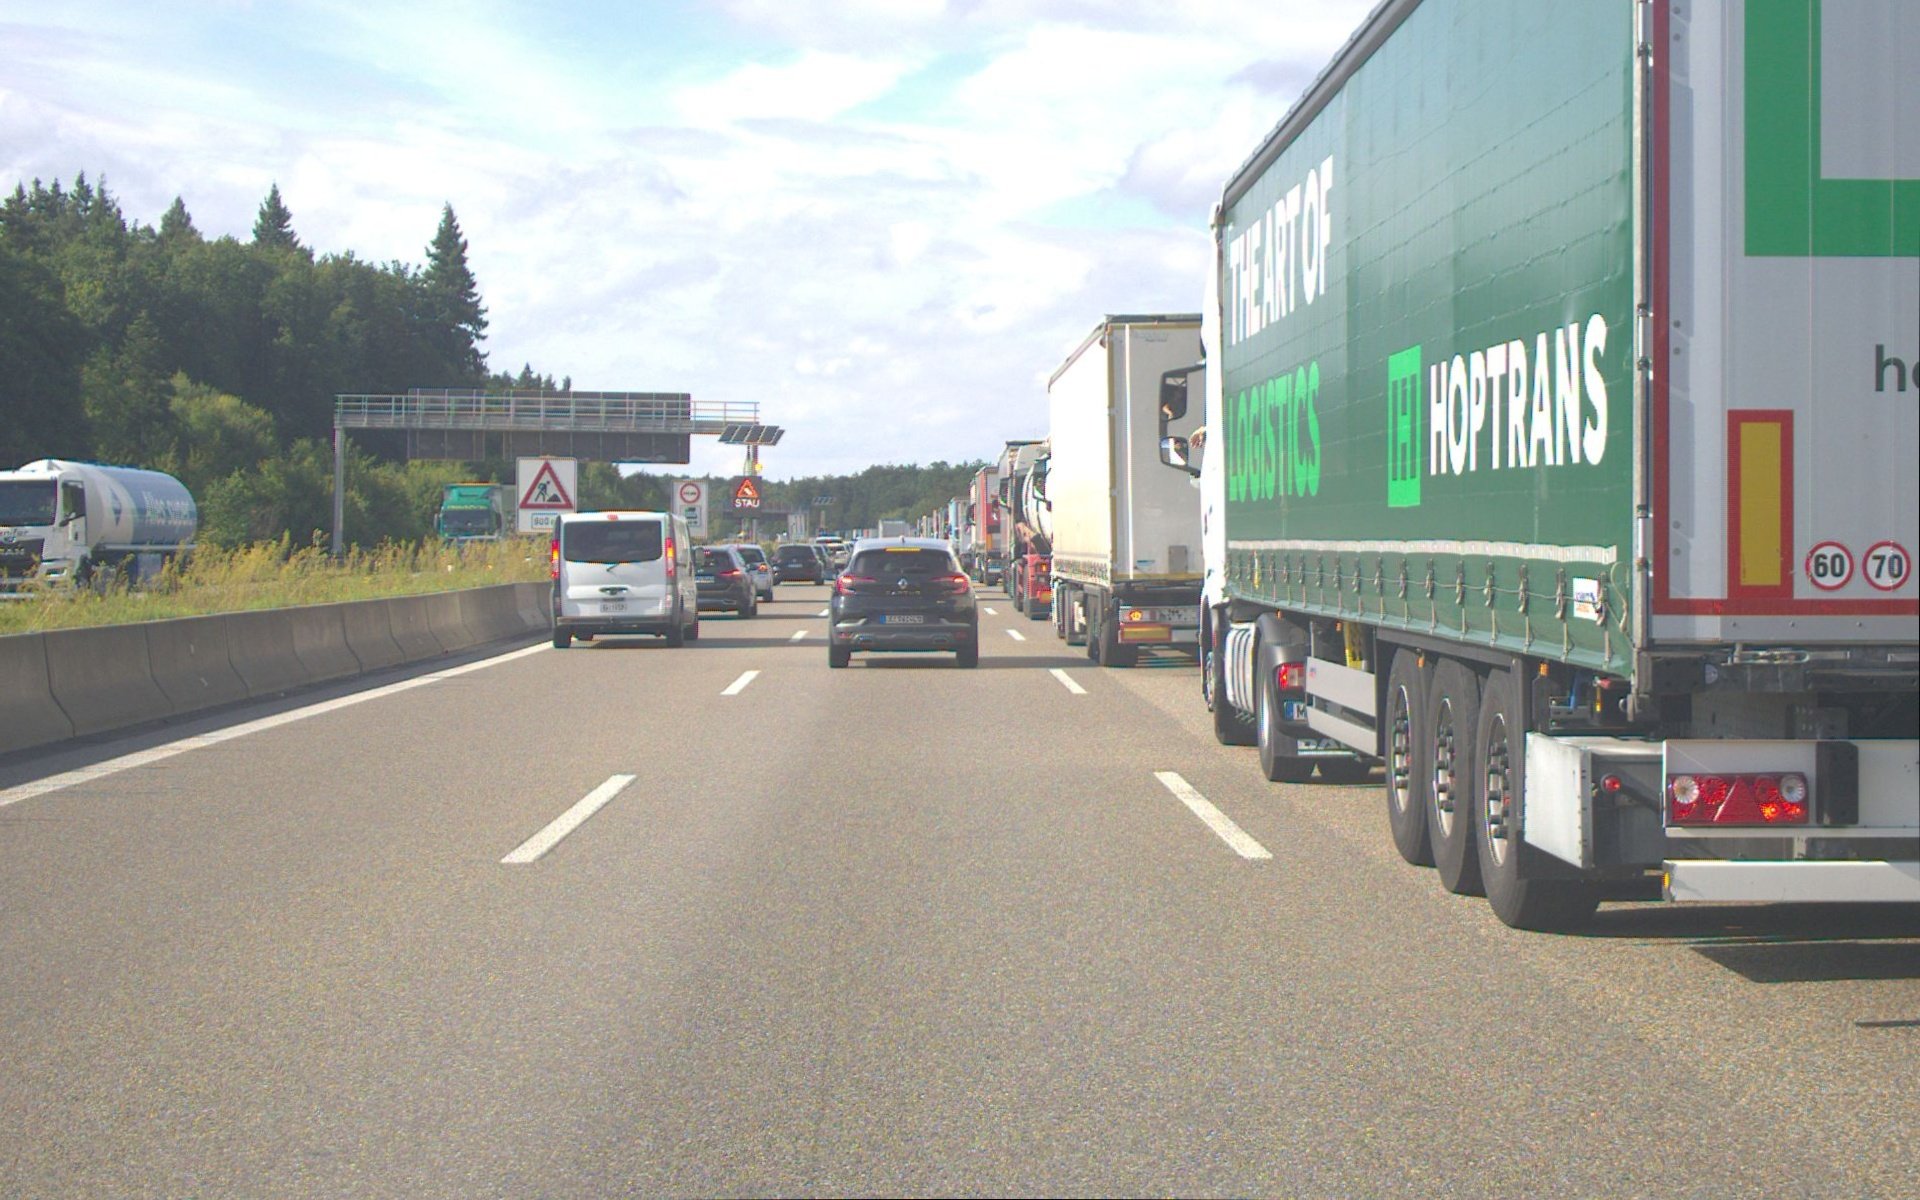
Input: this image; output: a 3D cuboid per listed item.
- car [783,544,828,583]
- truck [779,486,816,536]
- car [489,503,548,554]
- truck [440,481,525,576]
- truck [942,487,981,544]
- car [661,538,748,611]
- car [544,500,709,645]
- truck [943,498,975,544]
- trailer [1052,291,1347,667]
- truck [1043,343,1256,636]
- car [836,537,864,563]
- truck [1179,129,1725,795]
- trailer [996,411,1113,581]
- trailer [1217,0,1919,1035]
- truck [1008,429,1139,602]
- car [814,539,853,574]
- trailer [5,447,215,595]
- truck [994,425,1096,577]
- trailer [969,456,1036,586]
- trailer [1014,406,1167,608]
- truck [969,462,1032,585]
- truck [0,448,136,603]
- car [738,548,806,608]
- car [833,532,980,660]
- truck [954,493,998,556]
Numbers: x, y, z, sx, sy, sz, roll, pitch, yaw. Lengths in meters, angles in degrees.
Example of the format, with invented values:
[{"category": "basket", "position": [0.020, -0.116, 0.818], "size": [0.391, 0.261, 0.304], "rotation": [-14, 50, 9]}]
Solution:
[{"category": "car", "position": [-5.436, -1.291, 121.272], "size": [1.434, 1.305, 3.533], "rotation": [3, 1, -1]}, {"category": "truck", "position": [-12.278, -6.727, 260.158], "size": [2.344, 3.582, 6.306], "rotation": [3, 1, -1]}, {"category": "car", "position": [-17.319, -2.795, 134.921], "size": [1.760, 1.875, 4.000], "rotation": [3, 1, -1]}, {"category": "truck", "position": [-21.825, -3.246, 157.631], "size": [2.711, 4.229, 10.345], "rotation": [0, 1, -1]}, {"category": "truck", "position": [0.089, -4.765, 194.602], "size": [1.993, 3.042, 4.981], "rotation": [3, 1, 0]}, {"category": "car", "position": [-5.054, -0.522, 68.337], "size": [1.500, 1.391, 3.476], "rotation": [1, 1, -1]}, {"category": "car", "position": [-4.929, -0.423, 51.469], "size": [1.933, 1.972, 5.099], "rotation": [3, 1, -1]}, {"category": "truck", "position": [-0.064, -5.492, 238.506], "size": [1.993, 3.042, 4.981], "rotation": [3, 1, 0]}, {"category": "trailer", "position": [2.779, -1.443, 43.902], "size": [2.703, 4.068, 12.945], "rotation": [-1, 1, -1]}, {"category": "truck", "position": [2.708, -1.576, 50.882], "size": [2.708, 4.046, 6.362], "rotation": [0, 1, -1]}, {"category": "car", "position": [-5.777, -2.610, 180.583], "size": [1.361, 1.296, 3.085], "rotation": [3, 1, -1]}, {"category": "truck", "position": [3.085, -0.844, 23.485], "size": [2.647, 3.855, 6.996], "rotation": [0, 1, -1]}, {"category": "trailer", "position": [2.434, -2.685, 91.816], "size": [2.802, 4.229, 11.057], "rotation": [0, 1, 0]}, {"category": "trailer", "position": [3.152, -0.746, 16.701], "size": [2.661, 3.855, 13.395], "rotation": [0, 1, -1]}, {"category": "truck", "position": [2.391, -1.789, 74.241], "size": [2.533, 3.571, 6.730], "rotation": [0, 1, -1]}, {"category": "car", "position": [-5.095, -1.748, 138.525], "size": [1.434, 1.305, 3.533], "rotation": [3, 1, -1]}, {"category": "trailer", "position": [-20.026, -1.844, 81.649], "size": [2.321, 3.273, 10.876], "rotation": [0, 1, 0]}, {"category": "truck", "position": [2.404, -2.793, 98.855], "size": [2.786, 4.232, 6.459], "rotation": [0, 1, 0]}, {"category": "trailer", "position": [1.418, -2.654, 117.242], "size": [2.150, 4.244, 8.440], "rotation": [0, 1, 0]}, {"category": "trailer", "position": [2.448, -1.752, 67.559], "size": [2.541, 3.641, 10.627], "rotation": [0, 1, 0]}, {"category": "truck", "position": [1.413, -2.689, 122.510], "size": [2.134, 4.267, 6.339], "rotation": [0, 1, 0]}, {"category": "truck", "position": [-20.004, -1.624, 75.573], "size": [2.317, 3.262, 6.105], "rotation": [0, 1, 0]}, {"category": "car", "position": [-4.710, -0.570, 86.556], "size": [1.500, 1.391, 3.476], "rotation": [3, 1, -1]}, {"category": "car", "position": [-0.653, -0.065, 42.165], "size": [1.696, 1.478, 4.160], "rotation": [0, 1, -1]}, {"category": "truck", "position": [0.765, -3.648, 167.495], "size": [1.993, 2.922, 4.981], "rotation": [3, 1, 0]}]
